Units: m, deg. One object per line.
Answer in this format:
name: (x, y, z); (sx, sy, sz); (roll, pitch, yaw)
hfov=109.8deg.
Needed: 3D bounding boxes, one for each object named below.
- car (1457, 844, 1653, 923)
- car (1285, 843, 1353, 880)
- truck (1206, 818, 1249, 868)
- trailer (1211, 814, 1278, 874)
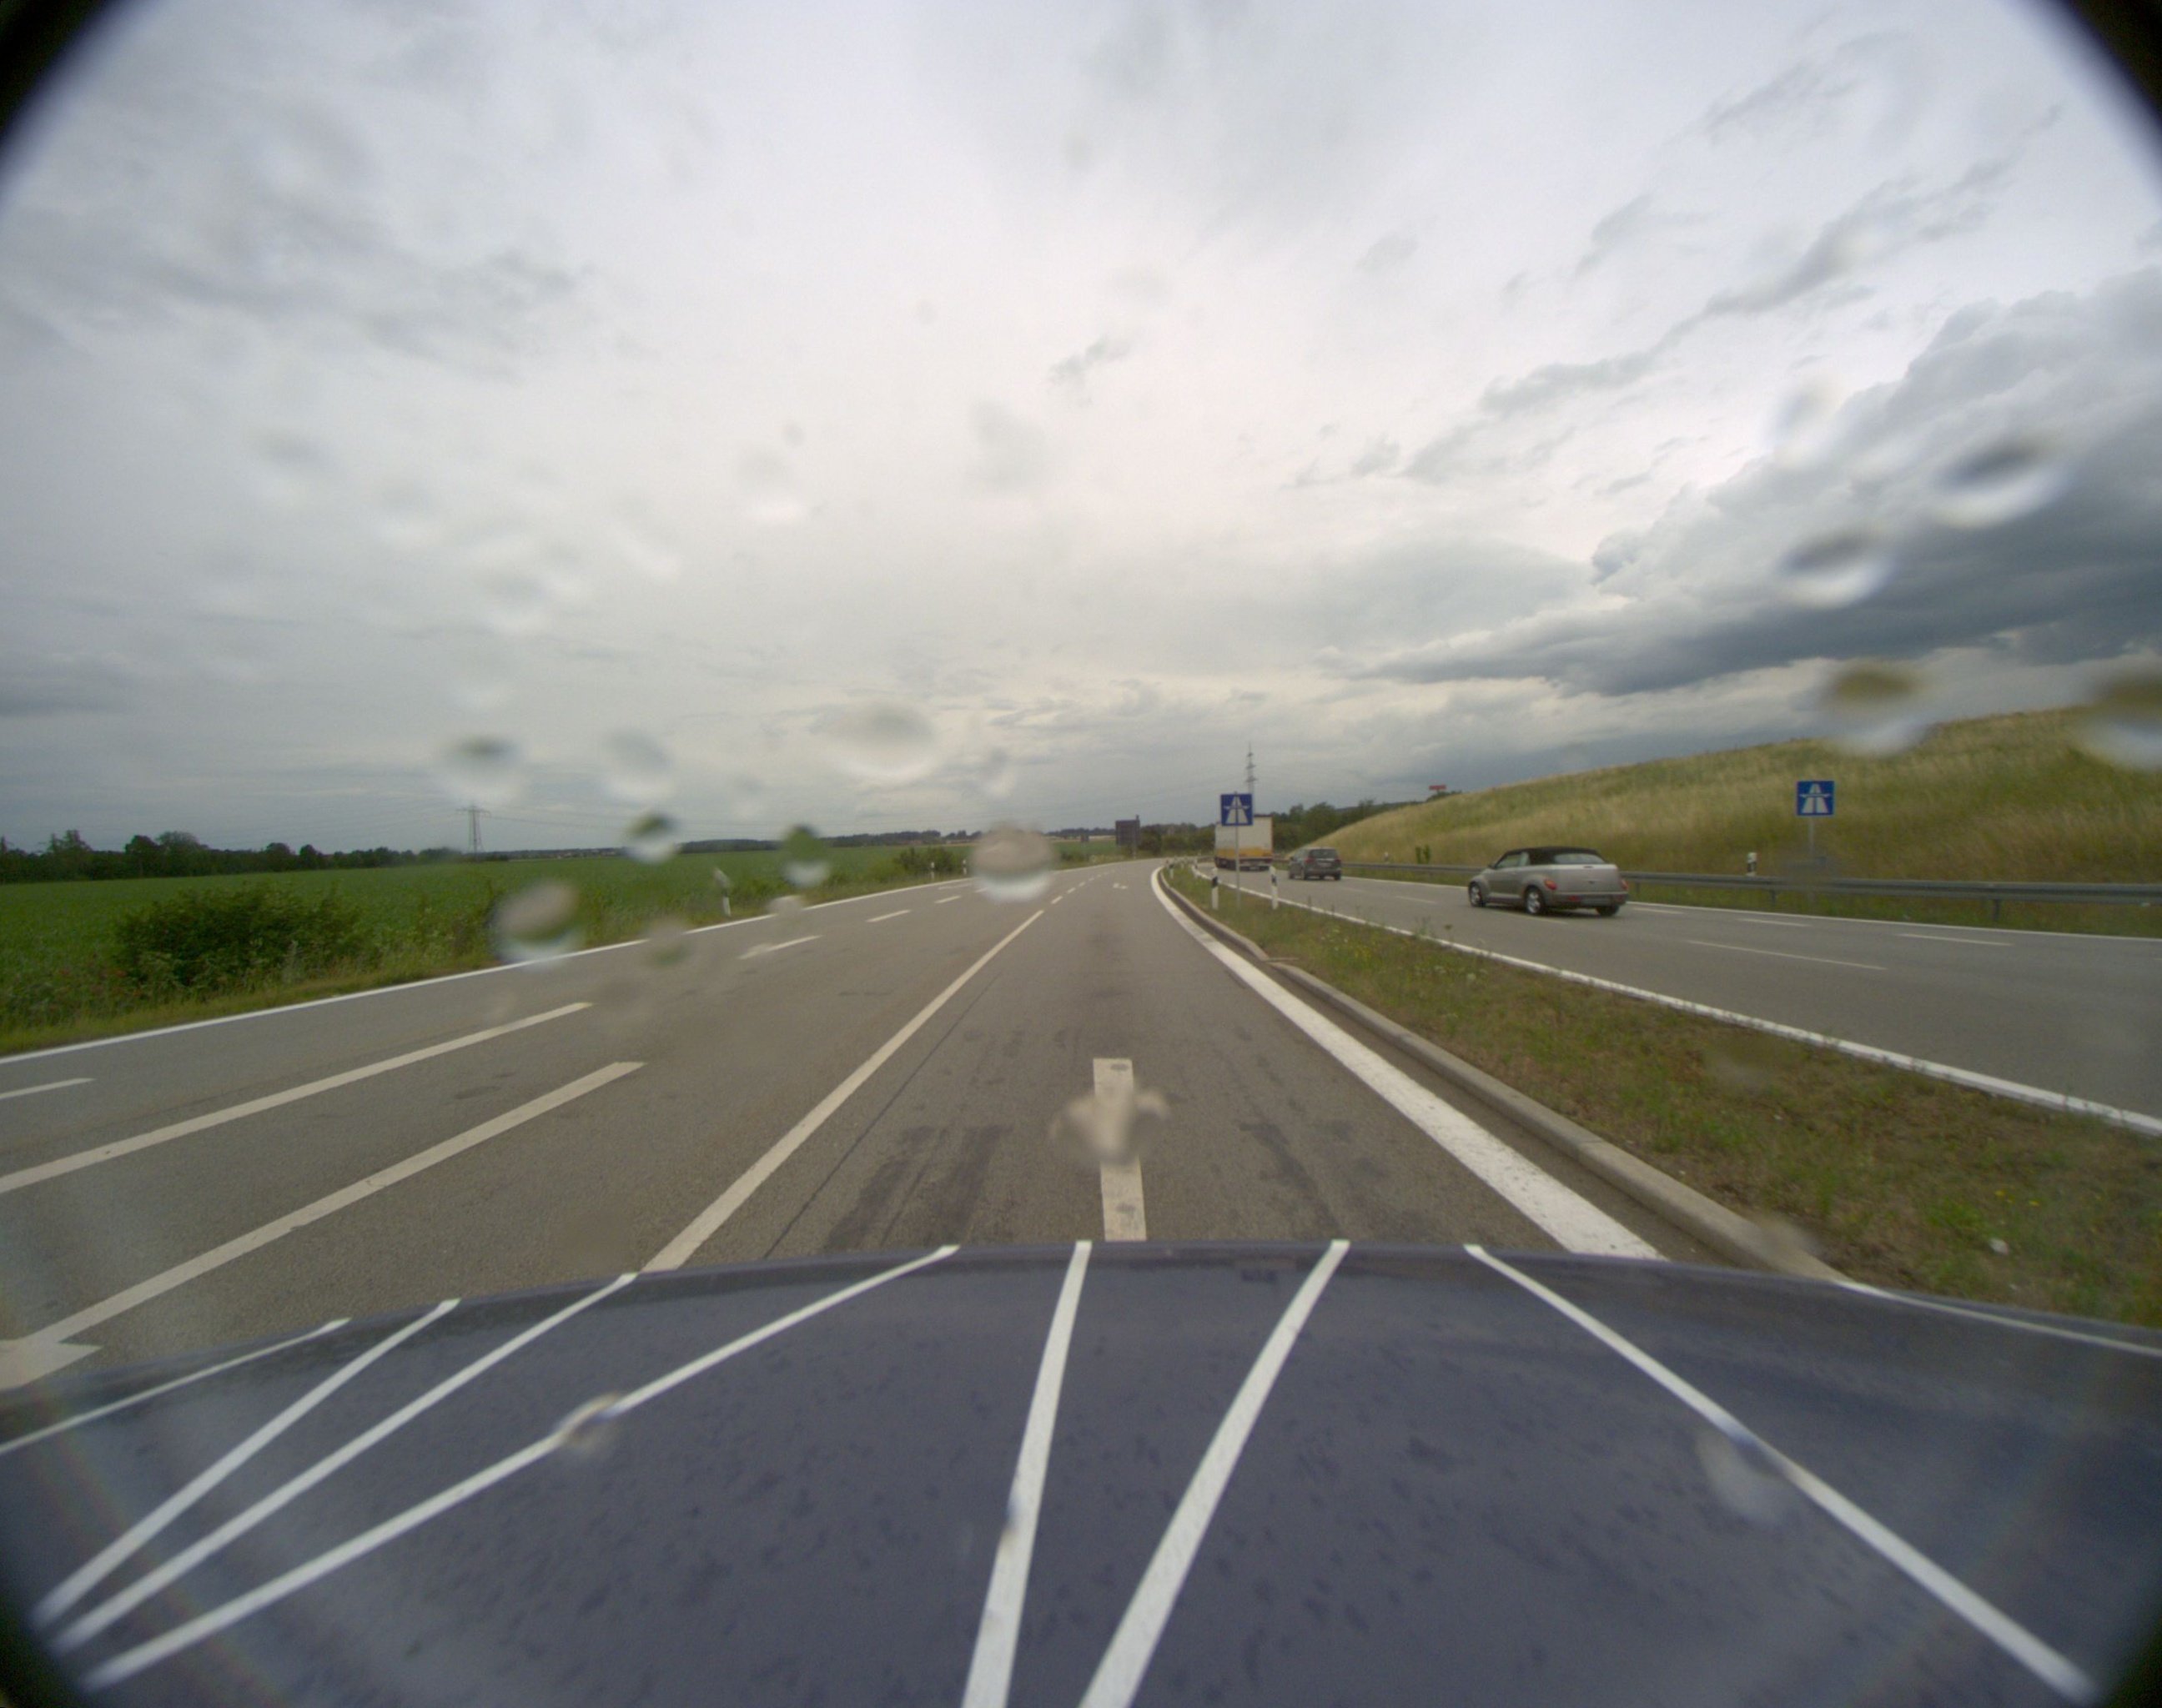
car: (10.602, 0.608, 17.428); (1.815, 1.511, 4.242); (-3, 0, 1)
car: (11.862, 0.310, 38.189); (1.998, 1.684, 4.454); (-2, 1, 1)
truck: (12.967, -1.013, 67.726); (2.656, 4.118, 6.403); (-2, 1, 2)
trailer: (12.716, -0.866, 60.602); (2.698, 4.187, 13.839); (-2, 1, 2)
